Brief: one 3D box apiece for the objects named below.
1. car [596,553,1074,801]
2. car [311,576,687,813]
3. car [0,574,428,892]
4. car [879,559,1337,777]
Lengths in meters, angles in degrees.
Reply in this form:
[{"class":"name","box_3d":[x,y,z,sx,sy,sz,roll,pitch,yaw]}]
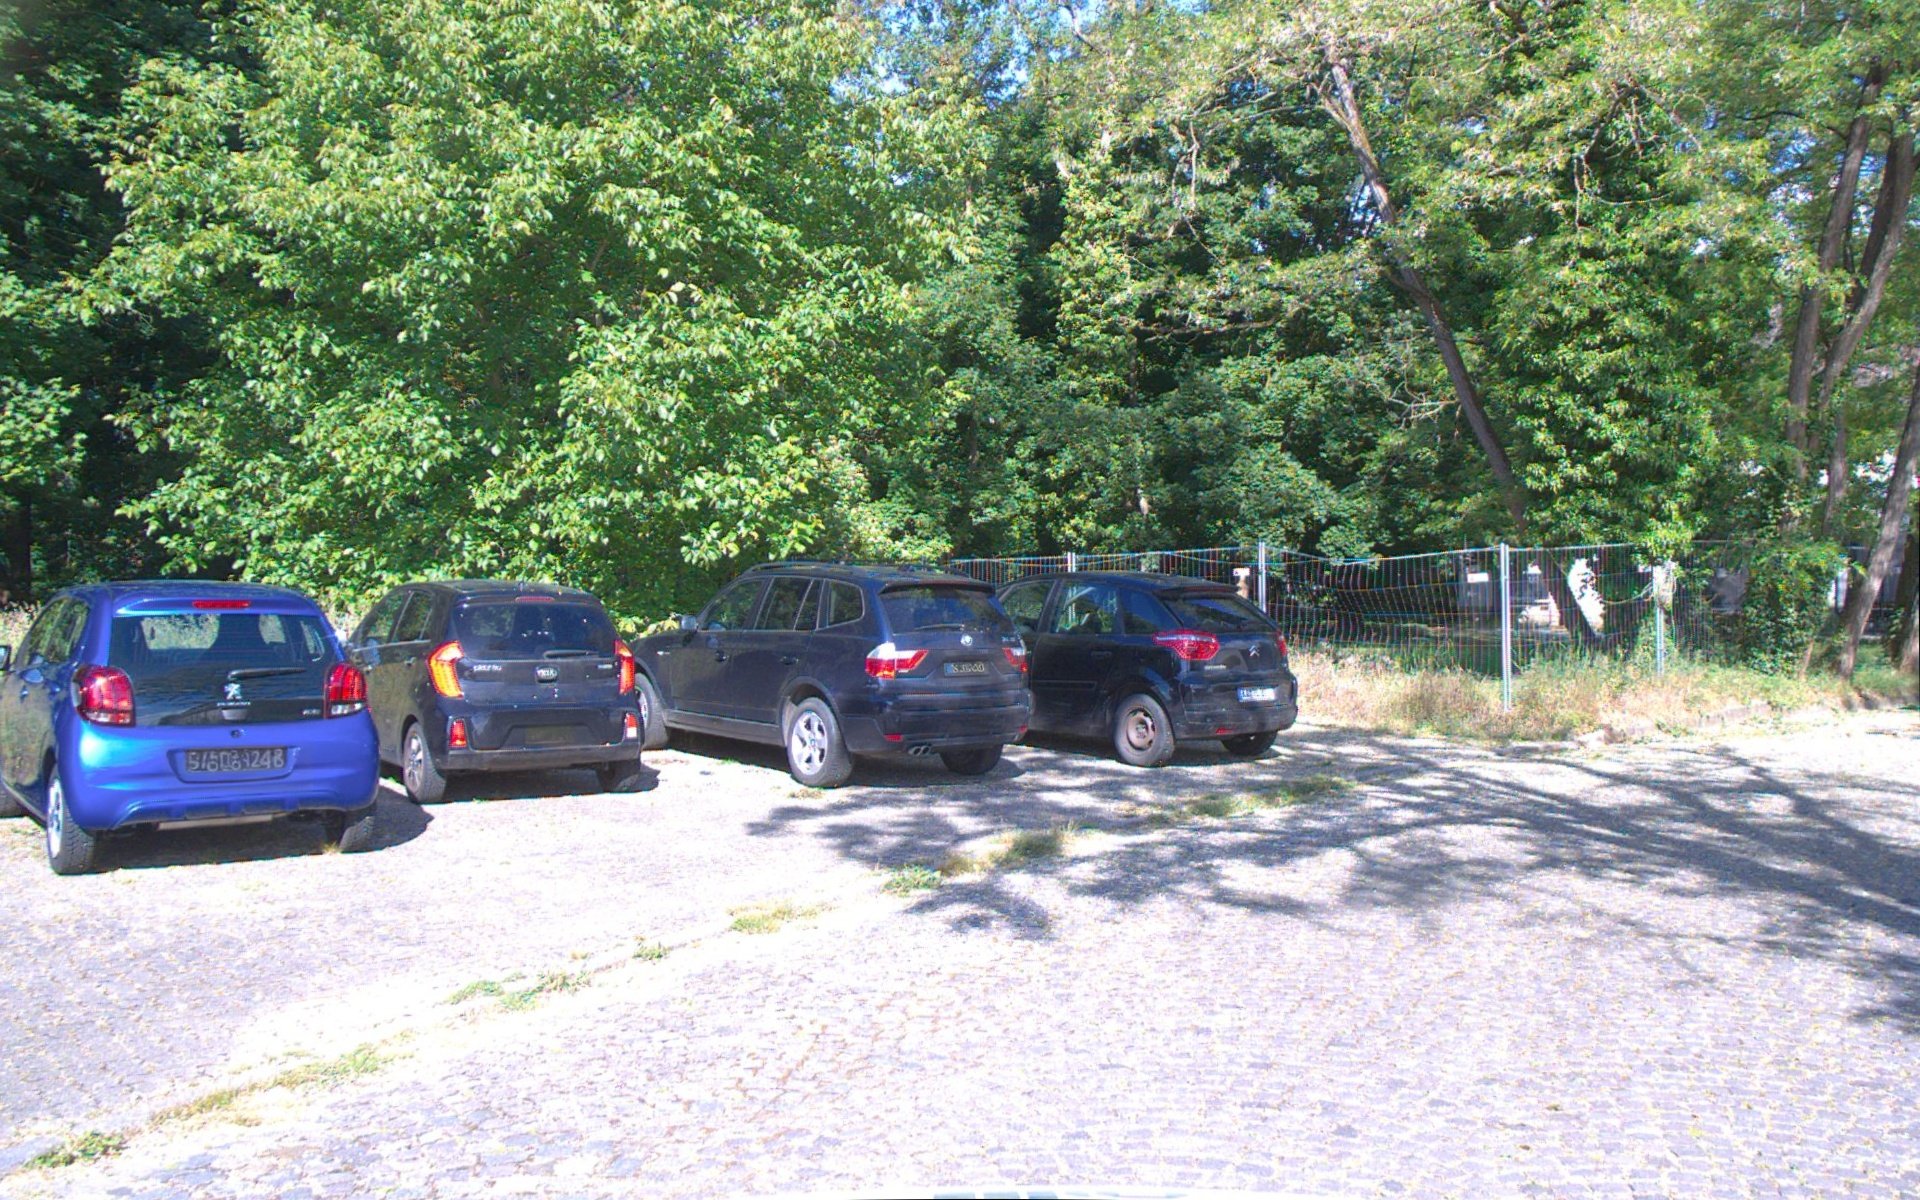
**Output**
[{"class":"car","box_3d":[-1.196,0.507,13.935,1.864,1.659,4.211,0,2,-41]},{"class":"car","box_3d":[-3.632,0.589,12.604,1.723,1.476,3.682,1,1,-33]},{"class":"car","box_3d":[-4.743,0.617,9.959,1.767,1.484,3.739,1,1,-38]},{"class":"car","box_3d":[1.285,0.513,15.830,1.815,1.616,4.206,-1,4,-43]}]
